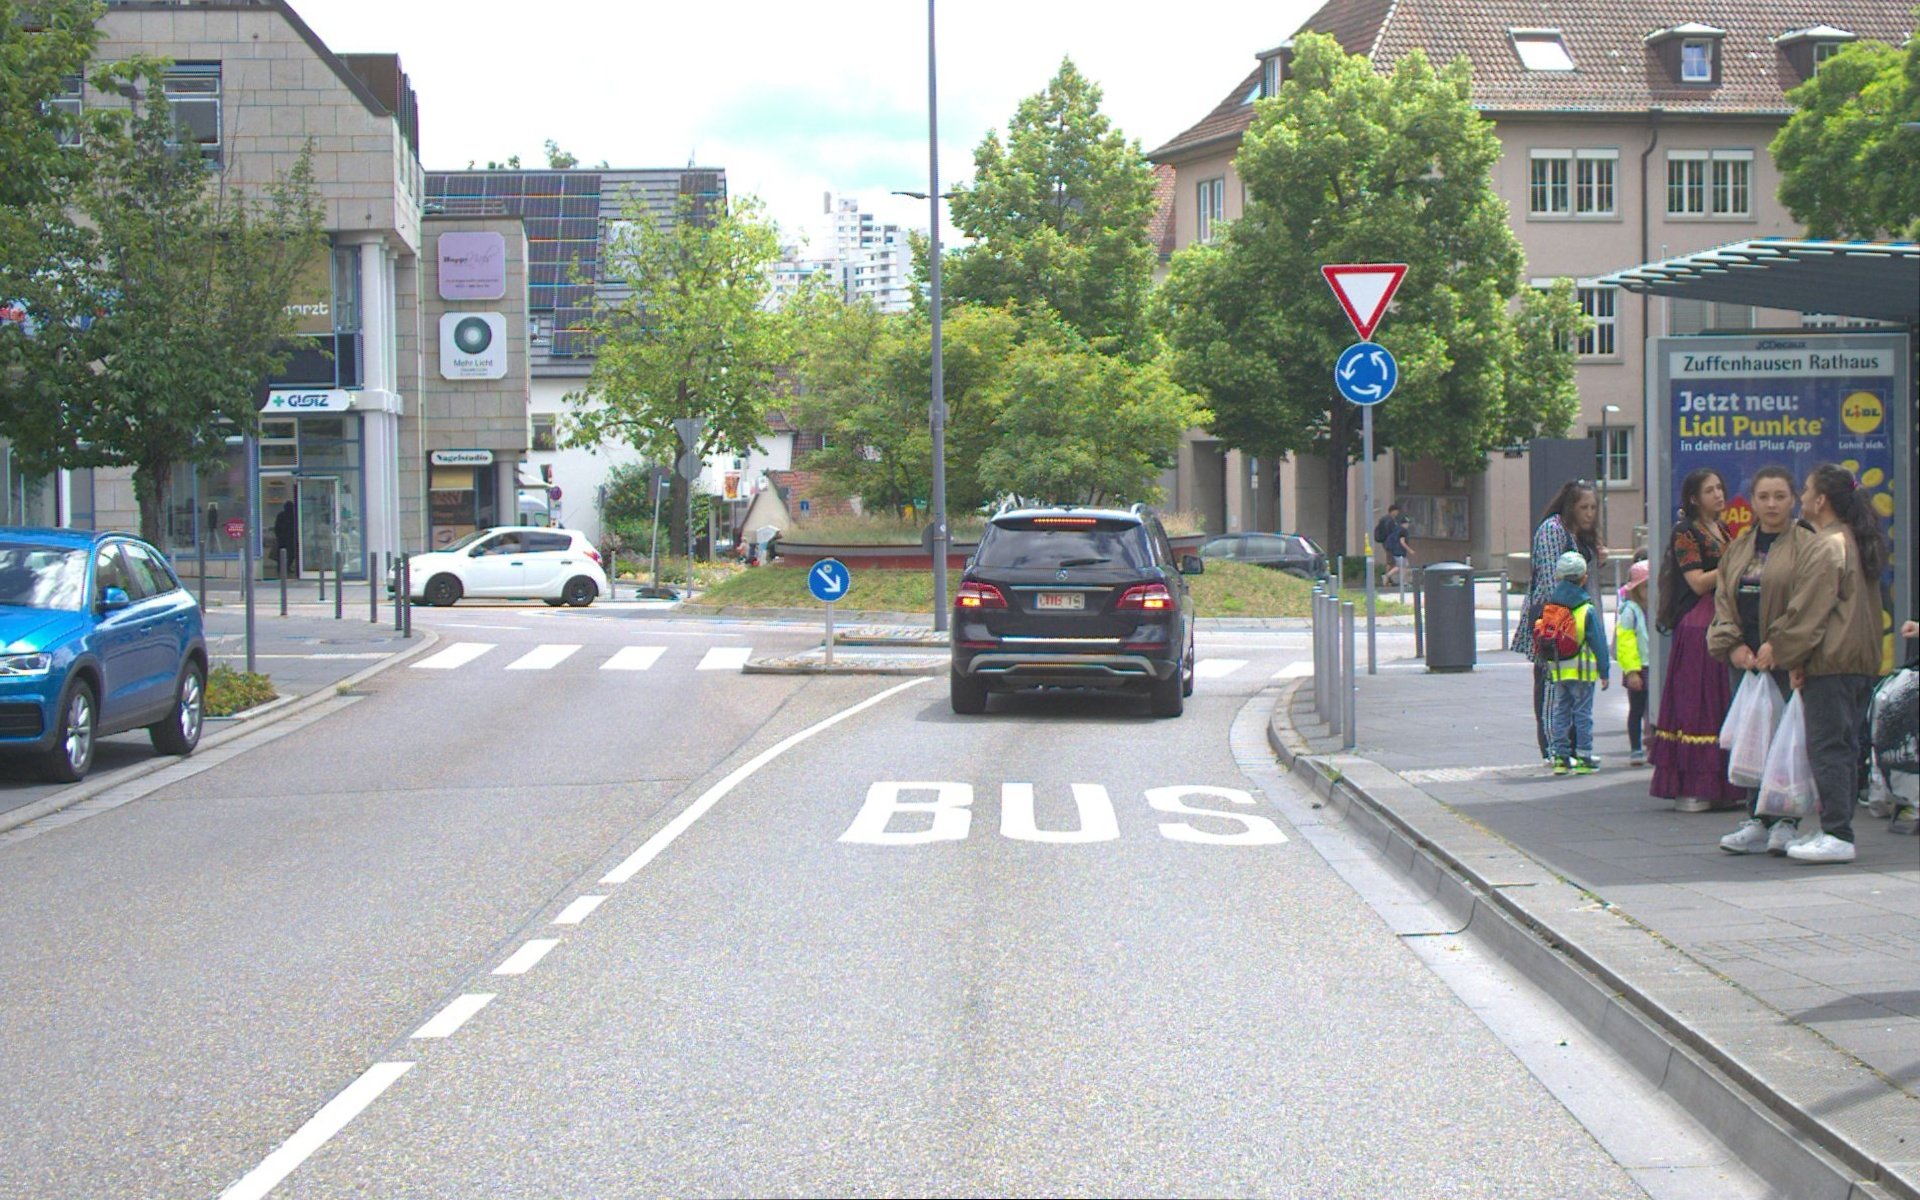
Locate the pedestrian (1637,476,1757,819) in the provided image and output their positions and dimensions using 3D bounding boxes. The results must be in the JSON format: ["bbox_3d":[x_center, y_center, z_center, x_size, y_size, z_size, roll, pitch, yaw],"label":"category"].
[{"bbox_3d":[3.418,0.213,15.971,0.496,1.560,0.501,-1,1,11],"label":"pedestrian"}]

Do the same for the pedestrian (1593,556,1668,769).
[{"bbox_3d":[3.693,0.340,18.939,0.297,1.148,0.293,-3,1,-1],"label":"pedestrian"}]

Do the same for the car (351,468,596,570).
[{"bbox_3d":[-13.304,-2.184,94.062,6.283,2.551,2.207,1,-1,-21],"label":"car"}]

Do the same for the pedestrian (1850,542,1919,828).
[{"bbox_3d":[4.212,0.357,15.021,0.377,1.207,0.634,-3,1,-6],"label":"pedestrian"}]

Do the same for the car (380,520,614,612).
[{"bbox_3d":[-8.379,-0.624,62.250,3.870,1.526,1.659,-2,1,-22],"label":"car"}]

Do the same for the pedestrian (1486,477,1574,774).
[{"bbox_3d":[3.155,0.134,19.054,0.387,1.614,0.469,-3,1,7],"label":"pedestrian"}]

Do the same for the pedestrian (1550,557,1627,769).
[{"bbox_3d":[3.492,0.350,19.097,0.264,1.157,0.271,-4,2,-44],"label":"pedestrian"}]

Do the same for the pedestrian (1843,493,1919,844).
[{"bbox_3d":[3.988,0.274,14.404,0.377,1.437,0.416,-3,1,-6],"label":"pedestrian"}]

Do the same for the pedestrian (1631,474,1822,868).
[{"bbox_3d":[3.096,0.275,13.882,0.543,1.544,0.485,0,2,44],"label":"pedestrian"}]

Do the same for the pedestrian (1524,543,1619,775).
[{"bbox_3d":[3.295,0.314,18.513,0.403,1.222,0.388,-1,1,22],"label":"pedestrian"}]

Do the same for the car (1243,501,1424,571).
[{"bbox_3d":[8.766,-1.505,80.723,3.870,1.526,1.659,-2,1,-22],"label":"car"}]

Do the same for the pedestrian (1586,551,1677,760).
[{"bbox_3d":[3.777,0.308,19.341,0.318,1.148,0.321,-4,2,-39],"label":"pedestrian"}]

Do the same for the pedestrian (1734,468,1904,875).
[{"bbox_3d":[3.345,0.268,13.370,0.513,1.544,0.487,-1,1,26],"label":"pedestrian"}]

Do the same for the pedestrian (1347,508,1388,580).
[{"bbox_3d":[9.008,-1.247,75.996,0.575,1.518,0.638,-5,8,-43],"label":"pedestrian"}]

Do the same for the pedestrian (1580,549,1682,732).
[{"bbox_3d":[4.401,0.265,22.552,0.476,1.168,0.390,-2,1,38],"label":"pedestrian"}]

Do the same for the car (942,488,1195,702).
[{"bbox_3d":[0.876,-0.016,29.789,2.027,1.721,4.433,0,-1,0],"label":"car"}]

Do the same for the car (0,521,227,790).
[{"bbox_3d":[-6.380,0.292,23.290,1.694,1.594,4.331,2,1,2],"label":"car"}]

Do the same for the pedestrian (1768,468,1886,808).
[{"bbox_3d":[4.057,0.173,16.082,0.394,1.560,0.351,-1,2,37],"label":"pedestrian"}]
